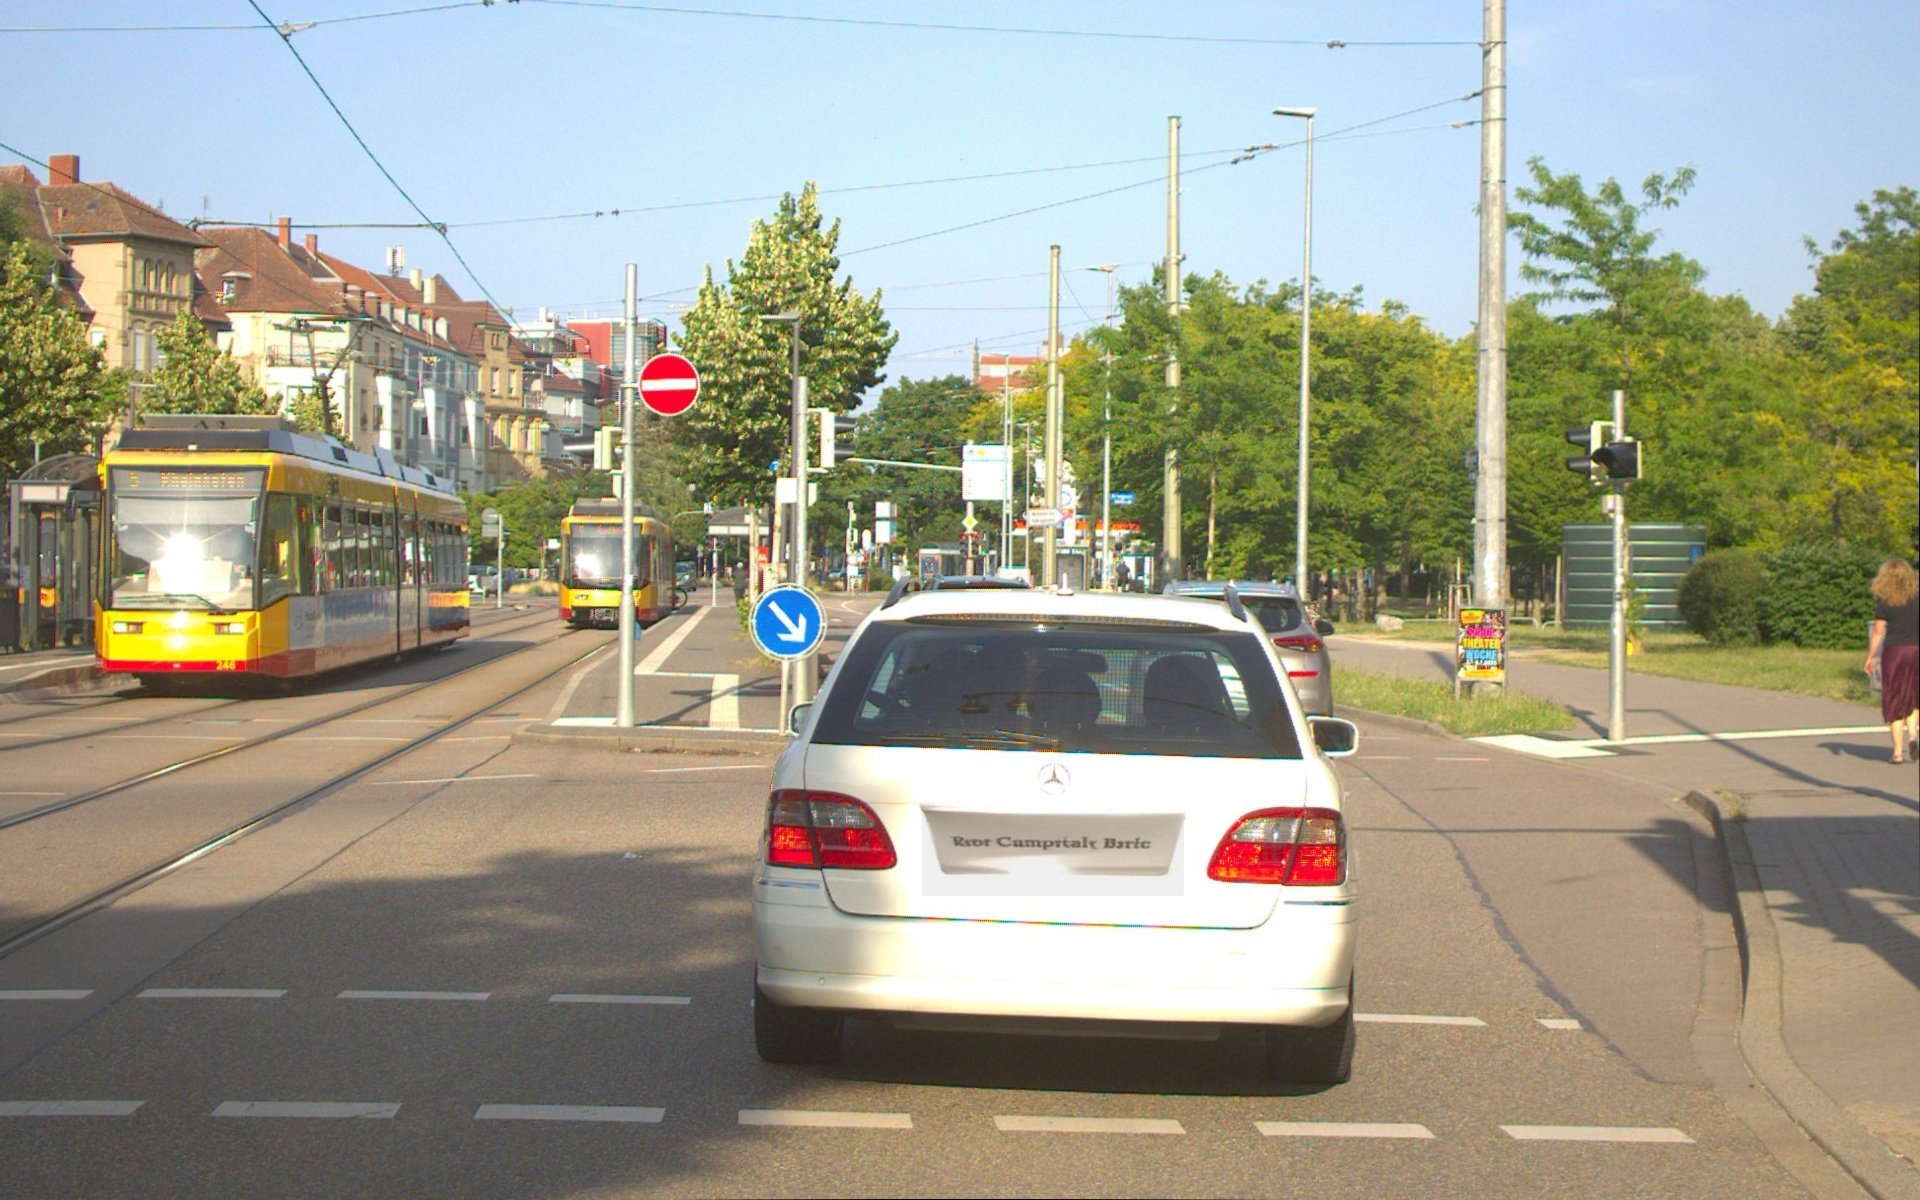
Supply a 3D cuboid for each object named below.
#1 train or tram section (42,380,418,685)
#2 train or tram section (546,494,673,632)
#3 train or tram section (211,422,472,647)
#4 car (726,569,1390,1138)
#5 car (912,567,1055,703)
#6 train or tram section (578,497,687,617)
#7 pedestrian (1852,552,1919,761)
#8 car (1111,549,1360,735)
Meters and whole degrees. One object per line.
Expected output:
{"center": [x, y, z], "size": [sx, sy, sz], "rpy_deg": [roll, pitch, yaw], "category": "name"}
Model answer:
{"center": [-9.632, -0.907, 47.249], "size": [3.161, 3.467, 14.535], "rpy_deg": [1, 1, -5], "category": "train or tram section"}
{"center": [-9.626, -1.086, 95.661], "size": [2.849, 3.467, 13.202], "rpy_deg": [2, 1, -3], "category": "train or tram section"}
{"center": [-10.825, -1.163, 61.687], "size": [3.161, 3.467, 14.475], "rpy_deg": [1, 1, -5], "category": "train or tram section"}
{"center": [0.214, 0.660, 11.164], "size": [1.758, 1.498, 4.000], "rpy_deg": [1, 1, -1], "category": "car"}
{"center": [0.330, 0.428, 46.150], "size": [1.787, 1.684, 4.000], "rpy_deg": [2, 1, 1], "category": "car"}
{"center": [-10.242, -1.392, 108.592], "size": [2.849, 3.467, 13.202], "rpy_deg": [2, 1, -3], "category": "train or tram section"}
{"center": [7.852, 0.459, 28.602], "size": [0.615, 1.686, 0.548], "rpy_deg": [-4, 1, 1], "category": "pedestrian"}
{"center": [2.540, 0.346, 32.562], "size": [2.033, 1.600, 4.000], "rpy_deg": [2, 1, 1], "category": "car"}
